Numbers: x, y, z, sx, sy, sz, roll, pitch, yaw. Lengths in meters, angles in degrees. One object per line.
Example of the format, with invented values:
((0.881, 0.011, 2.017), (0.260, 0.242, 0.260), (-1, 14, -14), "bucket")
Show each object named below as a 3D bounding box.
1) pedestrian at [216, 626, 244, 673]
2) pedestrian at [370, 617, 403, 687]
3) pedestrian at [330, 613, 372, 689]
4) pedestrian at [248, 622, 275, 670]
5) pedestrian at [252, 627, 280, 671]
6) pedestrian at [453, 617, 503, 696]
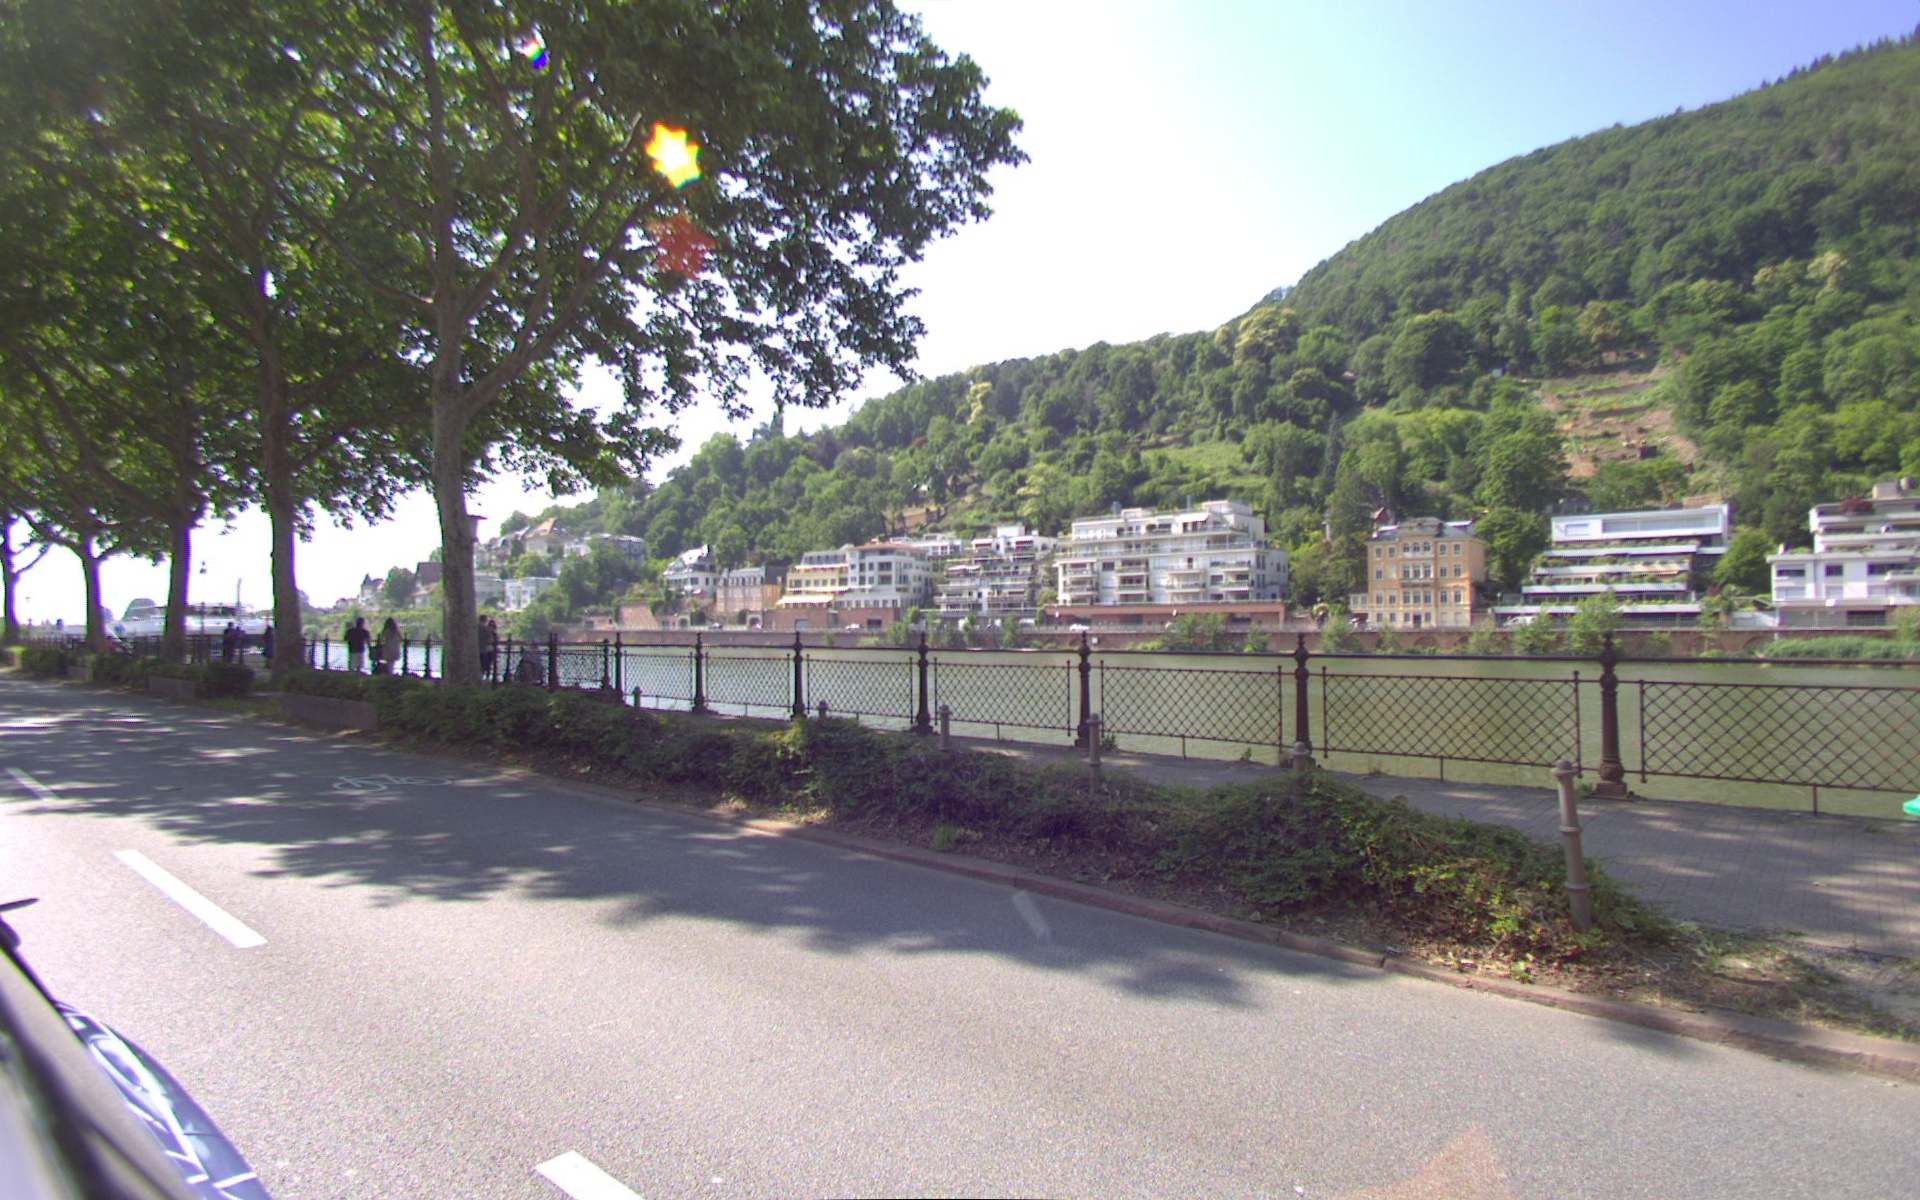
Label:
((-27.612, 1.866, 38.283), (0.705, 1.744, 0.696), (-2, -2, 43), "pedestrian")
((-14.691, 1.331, 25.925), (0.592, 1.782, 0.511), (-2, -4, 42), "pedestrian")
((-15.326, 1.276, 25.468), (0.805, 1.884, 0.634), (-2, -4, 42), "pedestrian")
((-27.036, 1.768, 39.178), (0.705, 1.811, 0.696), (-2, -2, 43), "pedestrian")
((-25.989, 1.826, 37.888), (0.705, 1.615, 0.696), (-2, -2, 43), "pedestrian")
((-10.933, 1.259, 22.952), (0.873, 1.730, 0.686), (-2, 0, 40), "pedestrian")
